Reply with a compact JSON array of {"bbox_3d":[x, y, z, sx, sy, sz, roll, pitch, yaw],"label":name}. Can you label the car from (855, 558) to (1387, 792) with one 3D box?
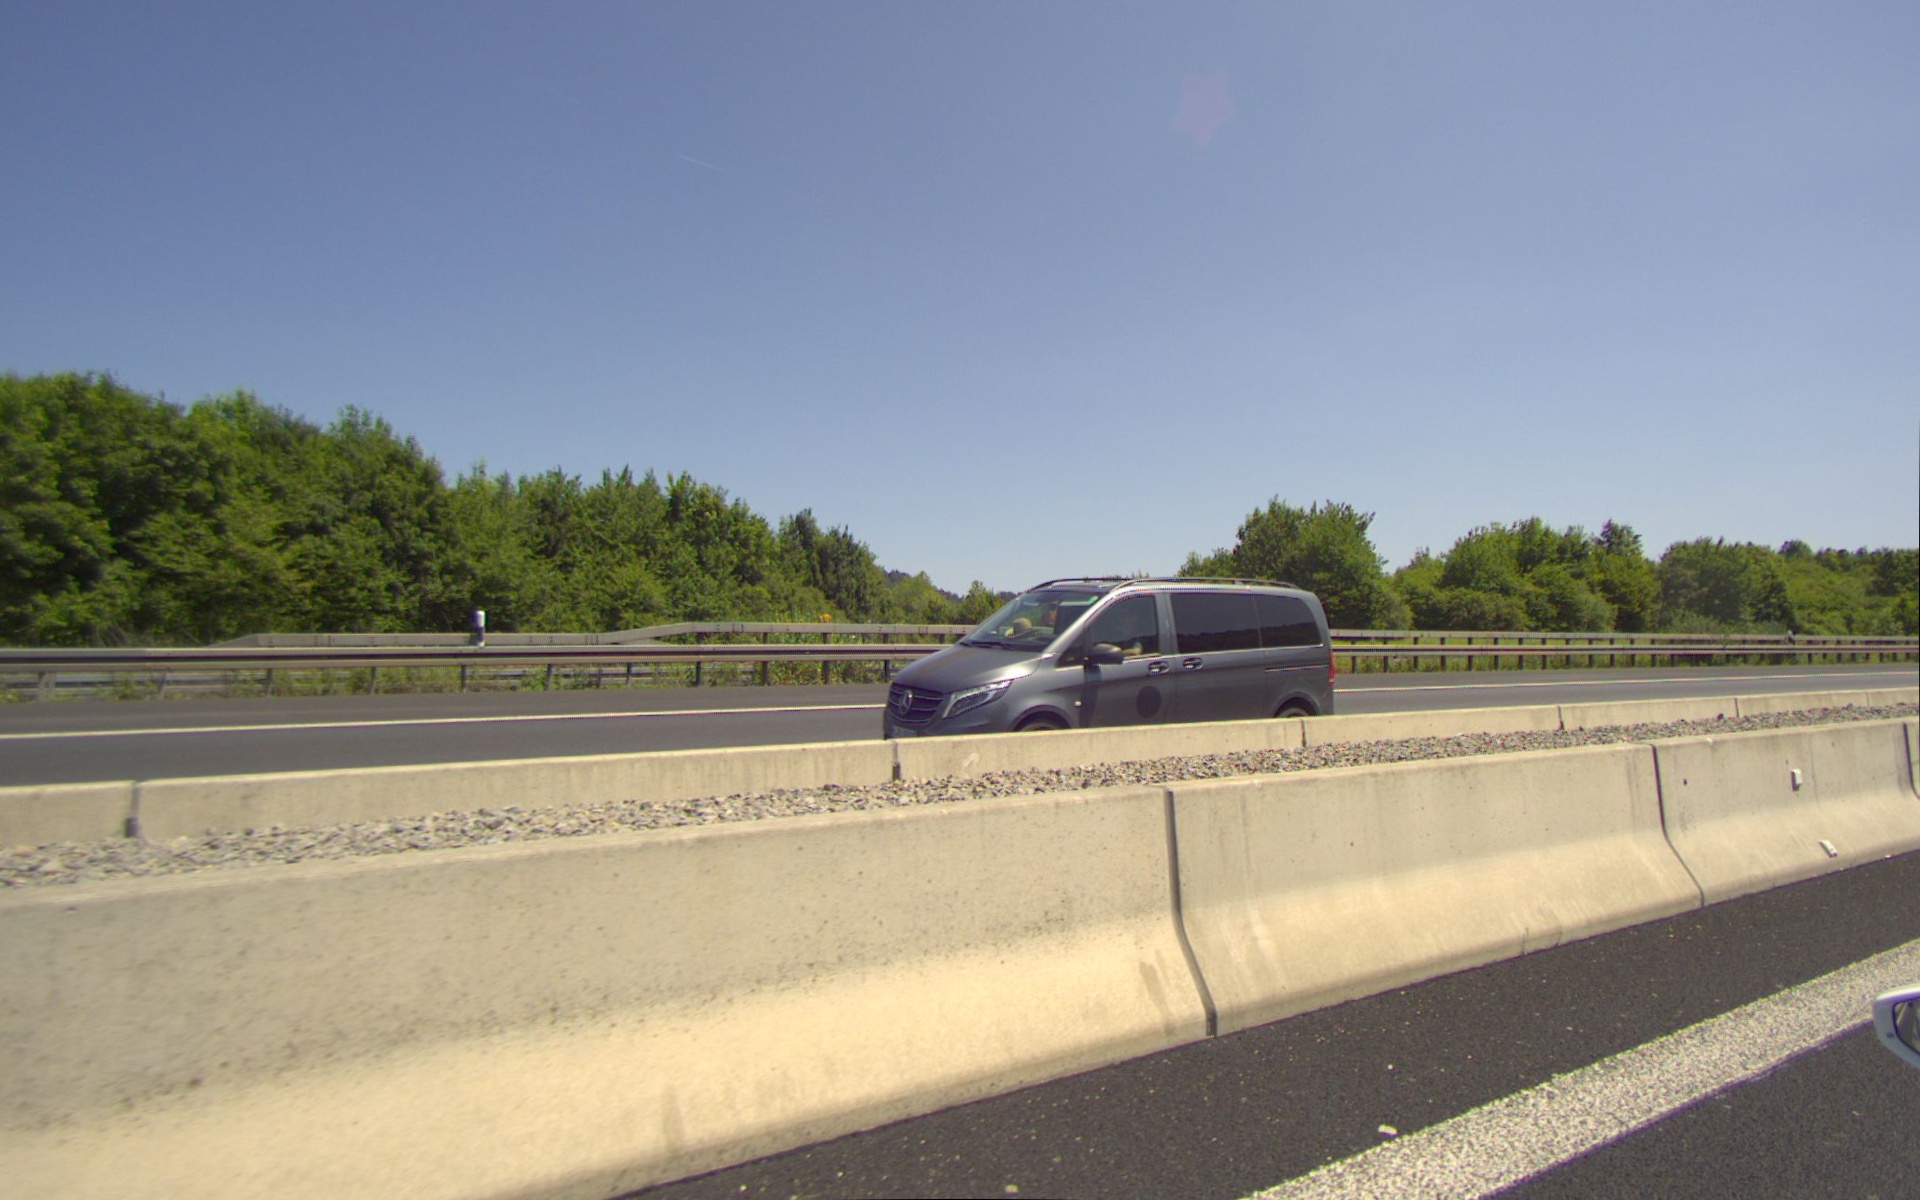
[{"bbox_3d":[1.773,0.688,10.308,5.311,1.882,2.026,2,-1,-30],"label":"car"}]
